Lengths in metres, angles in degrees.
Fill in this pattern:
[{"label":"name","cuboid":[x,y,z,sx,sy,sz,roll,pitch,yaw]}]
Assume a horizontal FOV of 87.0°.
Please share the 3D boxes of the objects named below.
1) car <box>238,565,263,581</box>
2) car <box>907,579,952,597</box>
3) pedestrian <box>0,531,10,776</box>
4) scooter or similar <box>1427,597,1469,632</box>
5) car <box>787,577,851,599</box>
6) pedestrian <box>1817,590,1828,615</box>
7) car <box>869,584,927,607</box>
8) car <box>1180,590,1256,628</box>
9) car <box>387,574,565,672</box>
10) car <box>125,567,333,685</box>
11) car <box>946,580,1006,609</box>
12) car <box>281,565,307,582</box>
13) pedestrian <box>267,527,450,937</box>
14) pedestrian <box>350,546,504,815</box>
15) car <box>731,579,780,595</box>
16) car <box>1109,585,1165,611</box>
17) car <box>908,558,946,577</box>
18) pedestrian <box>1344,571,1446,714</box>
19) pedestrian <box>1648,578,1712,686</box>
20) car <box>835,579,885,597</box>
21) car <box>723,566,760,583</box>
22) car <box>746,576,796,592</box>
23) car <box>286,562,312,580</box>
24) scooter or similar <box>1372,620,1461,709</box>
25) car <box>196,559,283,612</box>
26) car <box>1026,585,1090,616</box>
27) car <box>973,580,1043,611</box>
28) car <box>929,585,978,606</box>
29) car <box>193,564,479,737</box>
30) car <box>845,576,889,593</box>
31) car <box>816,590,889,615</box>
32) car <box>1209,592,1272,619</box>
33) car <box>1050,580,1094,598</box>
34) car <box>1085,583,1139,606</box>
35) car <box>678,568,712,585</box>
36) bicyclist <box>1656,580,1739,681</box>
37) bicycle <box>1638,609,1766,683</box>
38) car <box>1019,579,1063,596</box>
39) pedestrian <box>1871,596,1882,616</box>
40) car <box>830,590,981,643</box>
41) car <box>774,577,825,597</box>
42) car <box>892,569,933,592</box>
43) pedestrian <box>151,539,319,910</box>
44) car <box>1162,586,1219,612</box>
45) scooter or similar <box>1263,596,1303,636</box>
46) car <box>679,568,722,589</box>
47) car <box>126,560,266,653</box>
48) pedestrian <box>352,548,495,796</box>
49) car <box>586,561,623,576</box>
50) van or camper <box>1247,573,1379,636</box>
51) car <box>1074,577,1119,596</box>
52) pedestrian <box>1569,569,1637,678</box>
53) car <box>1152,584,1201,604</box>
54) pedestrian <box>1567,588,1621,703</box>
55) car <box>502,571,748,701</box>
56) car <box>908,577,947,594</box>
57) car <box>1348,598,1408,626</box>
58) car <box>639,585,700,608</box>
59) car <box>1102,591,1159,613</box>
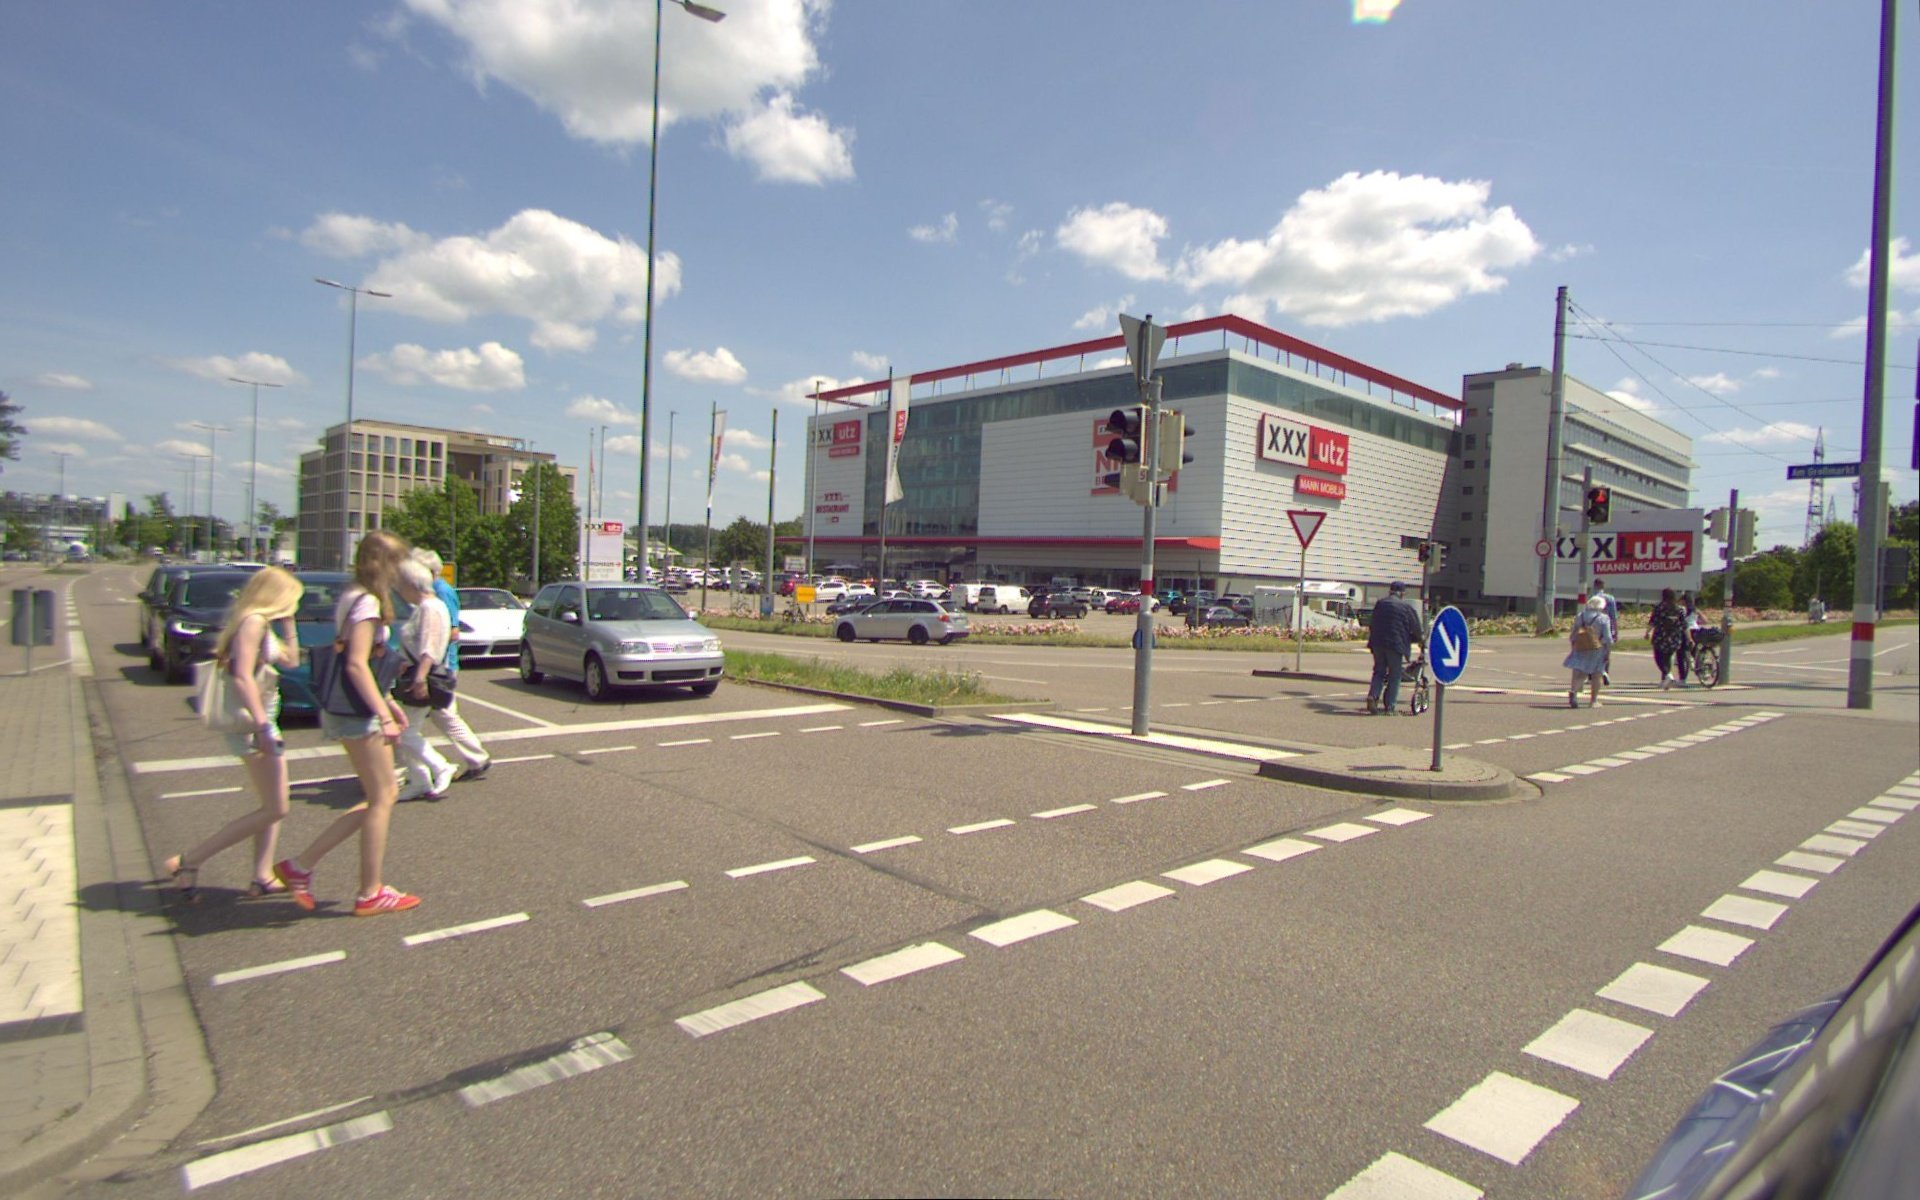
[{"label":"car","cuboid":[-74.162,-2.835,105.763,1.731,1.632,3.543,0,1,-41]},{"label":"car","cuboid":[-2.744,-1.104,91.974,3.932,1.546,1.691,0,1,-42]},{"label":"pedestrian","cuboid":[-6.836,0.372,6.522,0.834,1.680,0.799,1,1,-26]},{"label":"scooter or similar","cuboid":[17.089,0.510,35.451,1.252,1.140,0.481,-3,1,-14]},{"label":"car","cuboid":[-11.246,-0.960,80.857,4.781,1.723,1.853,0,1,-39]},{"label":"pedestrian","cuboid":[62.781,0.183,73.683,0.623,1.815,0.517,1,1,-43]},{"label":"car","cuboid":[-4.325,-0.323,71.027,1.848,1.565,3.938,1,1,43]},{"label":"car","cuboid":[14.683,0.476,57.490,4.373,2.039,1.998,1,1,-40]},{"label":"car","cuboid":[-8.361,0.314,17.282,1.772,1.415,4.228,-2,2,-39]},{"label":"car","cuboid":[-10.953,0.280,15.035,4.402,1.461,1.823,2,1,45]},{"label":"car","cuboid":[1.160,-0.403,71.916,3.930,2.039,1.997,0,1,-41]},{"label":"car","cuboid":[-78.974,-3.156,119.968,1.965,2.039,3.993,0,1,-41]},{"label":"pedestrian","cuboid":[-2.715,0.537,4.568,0.628,1.687,0.528,1,1,-39]},{"label":"pedestrian","cuboid":[-3.492,0.480,6.685,0.846,1.658,0.609,-1,1,-26]},{"label":"car","cuboid":[-19.491,-1.256,96.503,4.180,1.430,1.859,0,1,-40]},{"label":"car","cuboid":[13.960,-0.174,79.706,4.441,1.918,1.997,0,1,-41]},{"label":"car","cuboid":[-3.772,-3.752,117.670,4.211,2.039,1.848,0,1,-41]},{"label":"pedestrian","cuboid":[5.394,0.492,12.550,0.929,1.693,0.784,0,1,-36]},{"label":"pedestrian","cuboid":[12.198,0.517,17.178,0.799,1.782,0.789,1,0,31]},{"label":"car","cuboid":[-8.534,-1.000,86.502,3.927,1.457,1.853,0,1,-39]},{"label":"car","cuboid":[-26.002,-3.021,120.413,3.931,2.039,1.996,0,1,-42]},{"label":"car","cuboid":[-17.688,-1.504,94.735,4.180,1.430,1.859,0,1,-40]},{"label":"car","cuboid":[-76.191,-3.378,116.684,1.965,2.039,3.993,0,1,-41]},{"label":"scooter or similar","cuboid":[5.786,0.790,12.832,0.846,1.044,0.692,0,1,-36]},{"label":"car","cuboid":[-24.496,-0.512,34.348,1.965,1.660,4.075,1,1,-42]},{"label":"car","cuboid":[6.466,0.051,66.528,4.408,1.936,1.589,1,1,-40]},{"label":"car","cuboid":[3.361,-0.334,70.622,4.878,2.039,1.997,-1,1,-41]},{"label":"car","cuboid":[-0.451,-0.313,74.076,3.344,1.479,1.690,0,1,-45]},{"label":"car","cuboid":[-7.091,0.417,11.315,1.967,1.575,3.991,0,1,-43]},{"label":"car","cuboid":[-9.096,-1.533,99.307,3.930,1.671,1.997,0,1,-41]},{"label":"car","cuboid":[-6.221,0.139,58.652,3.875,1.393,1.851,0,1,-42]},{"label":"car","cuboid":[18.905,0.330,68.066,4.425,1.738,1.997,-1,1,-41]},{"label":"car","cuboid":[11.079,-1.068,100.104,4.444,1.714,1.996,0,1,-43]},{"label":"car","cuboid":[12.403,-0.448,82.642,4.441,1.756,1.997,0,1,-41]},{"label":"car","cuboid":[-33.319,-2.952,127.299,3.704,2.039,1.654,1,1,-41]},{"label":"bicyclist","cuboid":[13.044,0.521,17.933,0.801,1.722,0.799,2,0,0]},{"label":"bicycle","cuboid":[13.151,0.778,18.009,0.815,1.176,1.880,2,1,-2]},{"label":"car","cuboid":[8.271,-1.282,103.378,4.444,1.714,1.996,0,1,-43]},{"label":"pedestrian","cuboid":[76.467,0.506,84.460,0.623,1.676,0.598,1,1,-43]},{"label":"car","cuboid":[-1.719,0.475,31.332,4.425,1.415,1.783,2,1,32]},{"label":"car","cuboid":[-14.447,-1.151,91.188,4.096,1.723,1.853,1,1,-40]},{"label":"car","cuboid":[-4.387,-1.822,93.425,3.542,2.039,1.722,0,1,-41]},{"label":"pedestrian","cuboid":[-3.409,0.532,4.756,0.601,1.599,0.528,1,1,-39]},{"label":"car","cuboid":[17.603,-0.093,77.184,4.441,1.918,1.997,0,1,-41]},{"label":"scooter or similar","cuboid":[10.710,0.518,33.566,1.252,1.307,0.481,0,0,-24]},{"label":"car","cuboid":[-26.517,-2.213,103.487,3.931,2.039,1.543,0,1,-42]},{"label":"car","cuboid":[-15.046,0.066,19.829,1.831,1.604,4.407,0,1,-42]},{"label":"pedestrian","cuboid":[-3.805,0.470,7.227,0.846,1.658,0.605,-1,1,-26]},{"label":"car","cuboid":[-43.159,-3.861,122.923,3.931,1.749,1.735,-1,1,-42]},{"label":"van or camper","cuboid":[17.911,0.160,51.088,7.475,2.983,2.715,0,1,-38]},{"label":"car","cuboid":[13.264,-1.301,98.214,4.444,1.714,1.996,0,1,-43]},{"label":"pedestrian","cuboid":[11.512,0.398,18.130,0.783,1.888,0.805,0,0,-39]},{"label":"car","cuboid":[19.489,-0.531,91.023,4.441,1.714,1.997,0,1,-41]},{"label":"pedestrian","cuboid":[8.526,0.585,13.622,0.586,1.494,0.797,0,0,31]},{"label":"car","cuboid":[-4.499,0.362,13.257,1.771,1.414,3.832,1,1,-40]},{"label":"car","cuboid":[-3.272,-1.452,101.125,3.666,1.622,1.691,2,1,-42]},{"label":"car","cuboid":[27.442,0.739,66.370,4.445,1.583,1.996,-2,3,-43]},{"label":"car","cuboid":[-22.418,-0.293,78.245,4.056,1.705,1.995,0,1,-45]},{"label":"car","cuboid":[12.671,0.148,75.186,4.179,1.429,1.859,3,1,-40]}]
